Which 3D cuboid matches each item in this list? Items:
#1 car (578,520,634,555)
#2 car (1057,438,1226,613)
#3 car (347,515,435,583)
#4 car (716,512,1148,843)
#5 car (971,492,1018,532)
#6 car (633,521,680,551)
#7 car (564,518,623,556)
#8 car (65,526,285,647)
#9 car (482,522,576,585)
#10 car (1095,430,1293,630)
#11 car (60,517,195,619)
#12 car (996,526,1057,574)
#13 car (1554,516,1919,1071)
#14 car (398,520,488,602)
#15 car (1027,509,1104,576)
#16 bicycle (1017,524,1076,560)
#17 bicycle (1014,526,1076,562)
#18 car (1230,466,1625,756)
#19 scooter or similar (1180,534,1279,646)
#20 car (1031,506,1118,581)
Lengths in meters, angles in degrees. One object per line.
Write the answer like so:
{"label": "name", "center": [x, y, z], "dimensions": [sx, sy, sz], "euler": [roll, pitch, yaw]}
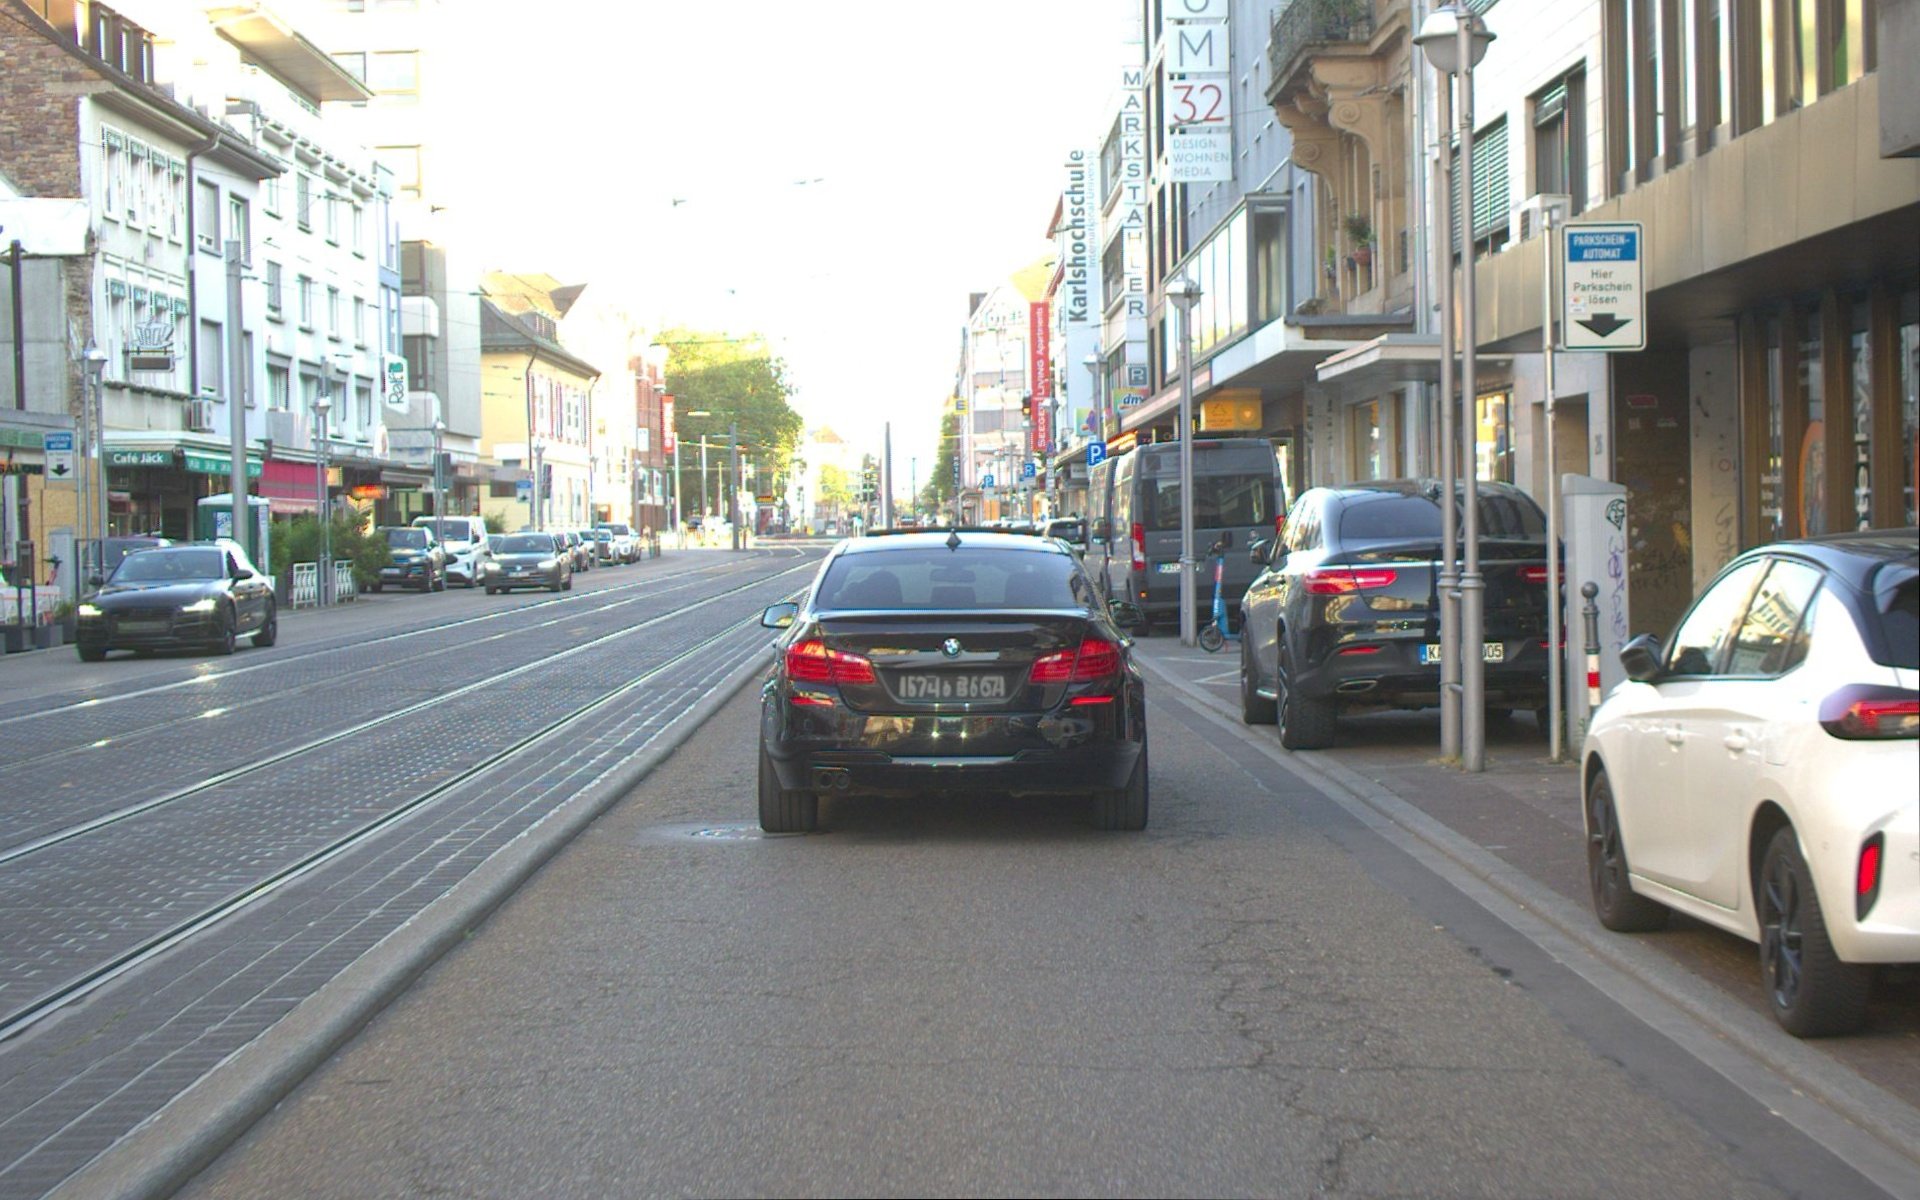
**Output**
{"label": "car", "center": [-14.787, -2.620, 143.783], "dimensions": [1.928, 1.430, 4.246], "euler": [0, 1, 0]}
{"label": "car", "center": [2.723, -1.155, 52.819], "dimensions": [2.033, 2.446, 5.410], "euler": [-3, 1, -2]}
{"label": "car", "center": [-14.335, -1.302, 86.702], "dimensions": [1.865, 1.679, 4.001], "euler": [0, 1, -5]}
{"label": "car", "center": [-0.092, 0.332, 17.818], "dimensions": [1.953, 1.493, 4.465], "euler": [0, 0, 1]}
{"label": "car", "center": [1.338, -3.447, 135.260], "dimensions": [1.774, 1.543, 3.503], "euler": [0, 1, -1]}
{"label": "car", "center": [-14.717, -3.127, 166.915], "dimensions": [1.928, 1.430, 4.246], "euler": [0, 1, 0]}
{"label": "car", "center": [-14.662, -2.536, 137.683], "dimensions": [1.928, 1.430, 4.246], "euler": [-1, 1, 0]}
{"label": "car", "center": [-10.118, -0.218, 44.648], "dimensions": [1.993, 1.448, 4.650], "euler": [-1, 1, -3]}
{"label": "car", "center": [-10.424, -1.144, 83.412], "dimensions": [1.691, 1.448, 4.465], "euler": [-1, 1, 0]}
{"label": "car", "center": [3.076, -0.962, 46.455], "dimensions": [2.092, 2.446, 6.033], "euler": [-2, 1, -1]}
{"label": "car", "center": [-13.408, -0.538, 55.457], "dimensions": [1.477, 1.572, 2.795], "euler": [-1, 1, 0]}
{"label": "car", "center": [2.177, -1.652, 113.696], "dimensions": [1.903, 1.543, 4.000], "euler": [0, 1, -1]}
{"label": "car", "center": [3.189, 0.469, 11.171], "dimensions": [1.795, 1.428, 3.887], "euler": [-1, 2, 0]}
{"label": "car", "center": [-14.192, -1.105, 94.618], "dimensions": [1.993, 2.149, 4.912], "euler": [-1, 1, -4]}
{"label": "car", "center": [2.450, -1.366, 80.425], "dimensions": [1.559, 1.437, 3.709], "euler": [-3, 1, -1]}
{"label": "bicycle", "center": [2.776, -1.860, 110.137], "dimensions": [1.861, 1.115, 0.468], "euler": [-1, 0, 1]}
{"label": "bicycle", "center": [2.585, -1.702, 104.333], "dimensions": [1.861, 1.076, 0.468], "euler": [-1, 0, 1]}
{"label": "car", "center": [3.038, 0.015, 23.305], "dimensions": [1.993, 1.721, 4.565], "euler": [-2, 1, 0]}
{"label": "scooter or similar", "center": [3.033, -0.124, 38.655], "dimensions": [0.499, 1.216, 1.262], "euler": [0, 2, 37]}
{"label": "car", "center": [2.481, -1.242, 75.014], "dimensions": [1.654, 1.532, 3.886], "euler": [-2, 1, -1]}
